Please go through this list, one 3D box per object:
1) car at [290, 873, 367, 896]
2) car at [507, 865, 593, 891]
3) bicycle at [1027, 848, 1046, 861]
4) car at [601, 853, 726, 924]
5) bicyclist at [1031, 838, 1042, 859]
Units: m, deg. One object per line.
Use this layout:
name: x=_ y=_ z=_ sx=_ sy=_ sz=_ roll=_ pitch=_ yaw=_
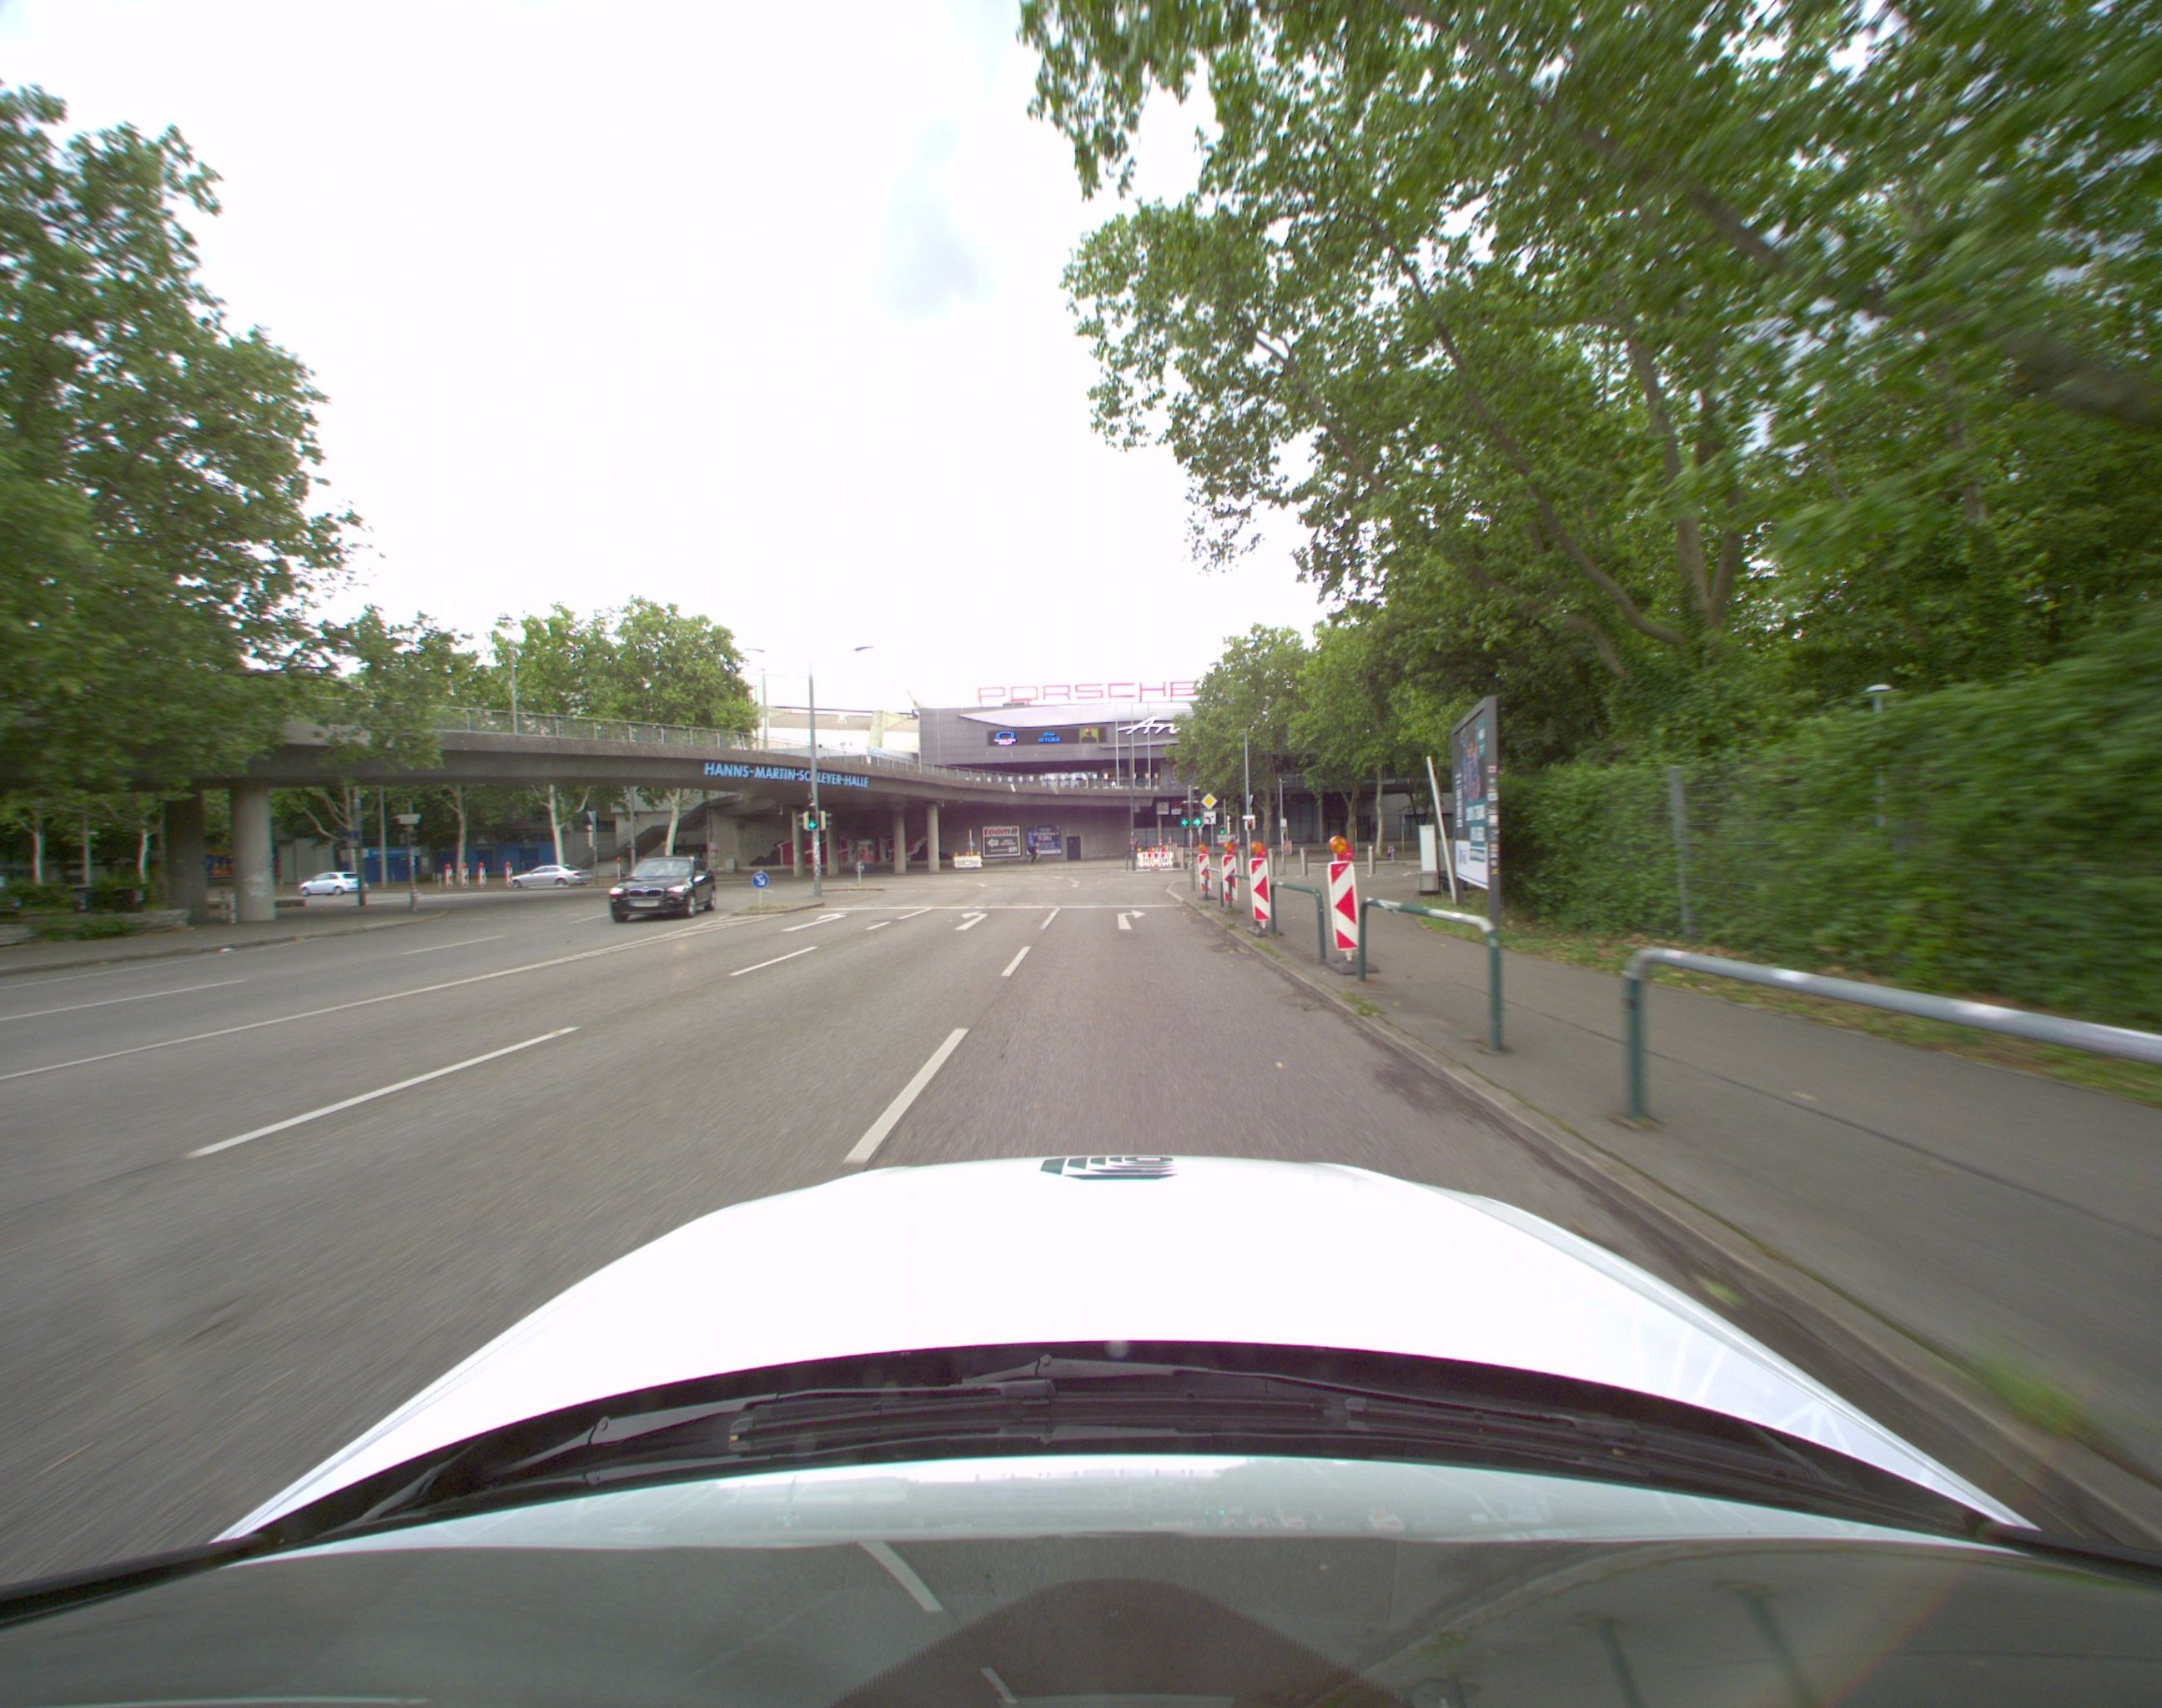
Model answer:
car: x=-47.750 y=1.933 z=51.696 sx=3.371 sy=1.313 sz=1.617 roll=-1 pitch=0 yaw=2
car: x=-32.678 y=1.462 z=50.202 sx=3.971 sy=1.418 sz=2.001 roll=-1 pitch=0 yaw=2
bicycle: x=-3.568 y=0.054 z=65.445 sx=1.529 sy=1.013 sz=0.516 roll=0 pitch=0 yaw=-3
car: x=-10.932 y=0.832 z=21.656 sx=1.771 sy=1.606 sz=4.410 roll=-3 pitch=0 yaw=-12
bicyclist: x=-3.574 y=-0.457 z=65.452 sx=0.849 sy=1.697 sz=0.766 roll=0 pitch=0 yaw=-2
